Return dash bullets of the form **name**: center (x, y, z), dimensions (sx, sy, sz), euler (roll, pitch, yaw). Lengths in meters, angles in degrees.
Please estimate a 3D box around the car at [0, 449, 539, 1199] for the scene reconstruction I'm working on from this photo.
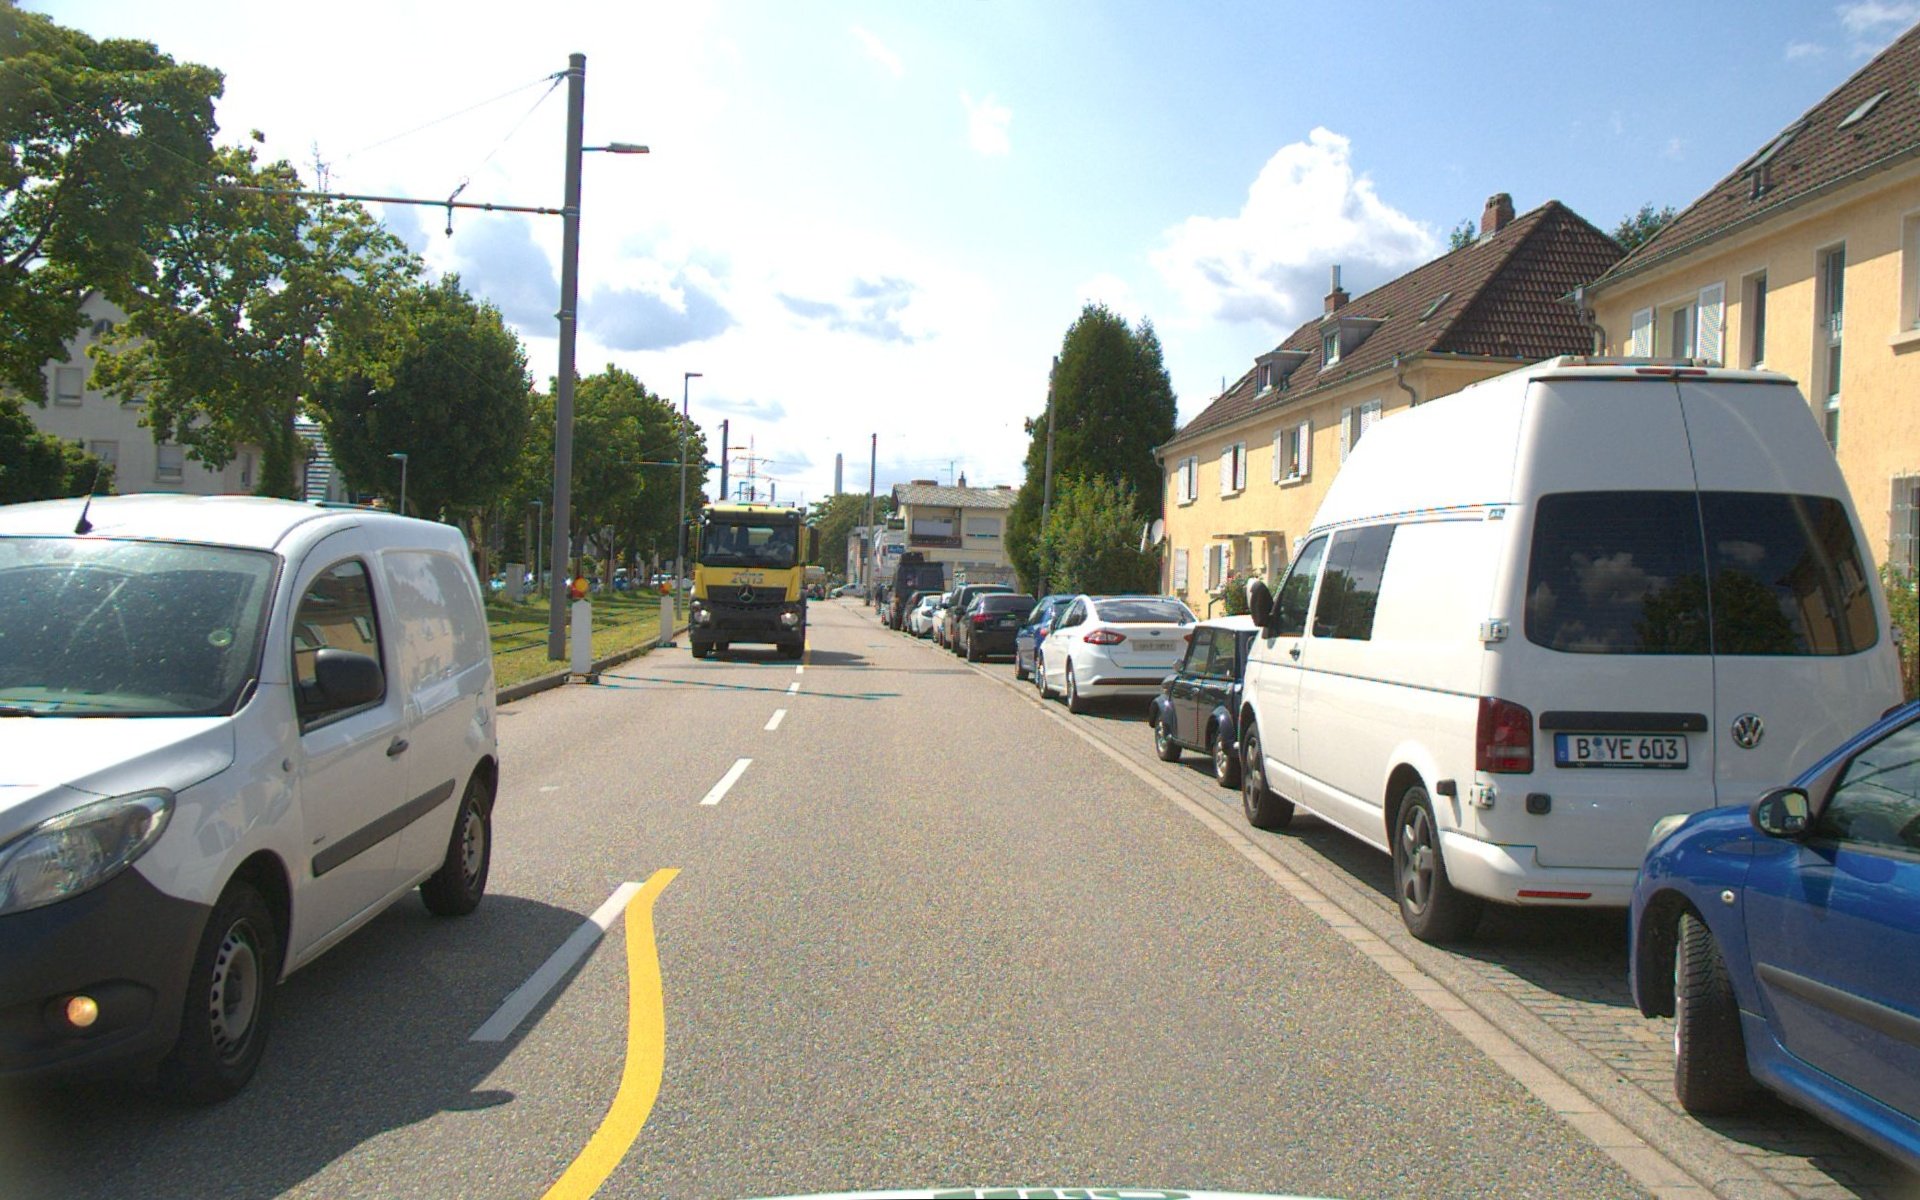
- **car**: center (-2.840, 0.508, 5.900), dimensions (1.700, 1.804, 4.306), euler (2, 1, -3)

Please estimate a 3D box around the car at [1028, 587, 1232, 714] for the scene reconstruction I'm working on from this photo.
- **car**: center (2.119, 0.592, 21.977), dimensions (1.764, 1.483, 4.759), euler (0, 0, -6)

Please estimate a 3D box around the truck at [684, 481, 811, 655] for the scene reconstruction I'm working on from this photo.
- **truck**: center (-4.642, -0.697, 37.197), dimensions (2.510, 3.520, 7.143), euler (0, 1, -5)

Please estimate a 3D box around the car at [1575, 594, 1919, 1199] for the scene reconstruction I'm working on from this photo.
- **car**: center (2.854, 0.764, 3.681), dimensions (1.505, 1.470, 3.737), euler (2, 1, -1)

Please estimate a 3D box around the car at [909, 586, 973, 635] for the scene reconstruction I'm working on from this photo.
- **car**: center (-0.650, 0.313, 52.326), dimensions (1.729, 1.465, 3.996), euler (0, 1, -5)

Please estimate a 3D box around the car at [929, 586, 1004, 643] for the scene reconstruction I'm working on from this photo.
- **car**: center (0.143, 0.371, 46.074), dimensions (1.729, 1.502, 3.996), euler (0, 1, -5)

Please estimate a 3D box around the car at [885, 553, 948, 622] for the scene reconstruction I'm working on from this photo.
- **car**: center (-1.721, -0.513, 63.537), dimensions (1.922, 2.522, 6.052), euler (0, 1, -6)

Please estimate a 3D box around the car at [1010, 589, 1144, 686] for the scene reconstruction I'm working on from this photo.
- **car**: center (1.849, 0.560, 27.223), dimensions (1.589, 1.442, 3.996), euler (0, 1, -5)

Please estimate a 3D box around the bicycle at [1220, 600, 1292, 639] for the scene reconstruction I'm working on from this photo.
- **bicycle**: center (7.720, 0.504, 43.147), dimensions (1.826, 0.972, 0.366), euler (2, 0, -10)

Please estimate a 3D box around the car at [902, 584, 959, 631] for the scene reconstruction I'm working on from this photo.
- **car**: center (-1.055, 0.232, 57.486), dimensions (1.729, 1.528, 3.996), euler (0, 1, -5)

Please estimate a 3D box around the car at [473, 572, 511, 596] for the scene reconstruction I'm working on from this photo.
- **car**: center (-33.439, -1.129, 118.232), dimensions (1.842, 1.580, 4.392), euler (1, 0, -6)

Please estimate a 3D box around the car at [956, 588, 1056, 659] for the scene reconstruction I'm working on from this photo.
- **car**: center (0.949, 0.466, 36.086), dimensions (1.729, 1.442, 3.996), euler (0, 1, -5)

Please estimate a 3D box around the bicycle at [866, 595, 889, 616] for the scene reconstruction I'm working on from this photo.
- **bicycle**: center (-4.599, 0.298, 92.103), dimensions (0.976, 1.067, 2.807), euler (2, 1, -8)

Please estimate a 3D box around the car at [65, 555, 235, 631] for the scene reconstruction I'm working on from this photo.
- **car**: center (-17.390, -0.173, 35.764), dimensions (1.694, 1.531, 4.564), euler (0, 1, -4)

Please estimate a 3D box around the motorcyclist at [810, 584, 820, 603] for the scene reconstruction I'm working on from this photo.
- **motorcyclist**: center (-13.221, -0.637, 150.746), dimensions (0.867, 1.696, 1.108), euler (2, 0, -6)

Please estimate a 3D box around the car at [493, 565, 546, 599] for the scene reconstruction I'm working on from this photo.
- **car**: center (-21.713, -0.855, 81.638), dimensions (1.842, 1.580, 4.372), euler (1, 0, -6)

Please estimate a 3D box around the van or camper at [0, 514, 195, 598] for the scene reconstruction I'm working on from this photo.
- **van or camper**: center (-34.954, -1.758, 66.877), dimensions (6.749, 3.180, 2.440), euler (1, 1, -6)

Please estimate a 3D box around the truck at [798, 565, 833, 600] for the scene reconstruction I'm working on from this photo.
- **truck**: center (-15.208, -1.767, 173.081), dimensions (3.160, 3.461, 11.336), euler (1, 0, -7)

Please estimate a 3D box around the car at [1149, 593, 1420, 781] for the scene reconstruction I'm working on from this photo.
- **car**: center (2.608, 0.649, 13.930), dimensions (1.315, 1.364, 3.284), euler (2, 0, -6)

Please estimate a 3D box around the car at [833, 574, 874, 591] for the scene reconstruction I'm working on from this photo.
- **car**: center (-12.429, -2.012, 193.620), dimensions (4.558, 1.854, 1.831), euler (2, 1, -11)

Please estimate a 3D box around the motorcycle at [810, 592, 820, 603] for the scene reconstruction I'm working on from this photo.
- **motorcycle**: center (-13.257, -0.271, 150.994), dimensions (0.867, 0.940, 2.613), euler (2, 1, -6)

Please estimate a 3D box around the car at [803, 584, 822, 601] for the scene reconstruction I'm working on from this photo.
- **car**: center (-13.913, -0.682, 155.905), dimensions (1.538, 1.524, 4.142), euler (2, 1, -7)

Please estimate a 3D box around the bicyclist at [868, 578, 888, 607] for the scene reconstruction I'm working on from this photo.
- **bicyclist**: center (-4.586, -0.435, 92.121), dimensions (0.976, 1.596, 1.138), euler (2, 0, -8)

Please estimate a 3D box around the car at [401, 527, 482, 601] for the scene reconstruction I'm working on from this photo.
- **car**: center (-20.396, -1.398, 65.353), dimensions (2.035, 2.768, 6.988), euler (0, 1, -9)

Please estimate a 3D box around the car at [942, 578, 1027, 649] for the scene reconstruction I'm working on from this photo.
- **car**: center (0.561, 0.299, 41.257), dimensions (1.729, 1.672, 3.996), euler (0, 1, -5)

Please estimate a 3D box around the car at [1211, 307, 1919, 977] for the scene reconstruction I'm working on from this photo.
- **car**: center (2.834, 0.143, 9.043), dimensions (1.890, 2.524, 5.516), euler (1, 0, -2)

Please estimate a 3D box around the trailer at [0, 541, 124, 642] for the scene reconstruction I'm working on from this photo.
- **trailer**: center (-16.701, -0.184, 30.028), dimensions (1.535, 1.707, 3.369), euler (2, 1, -5)
